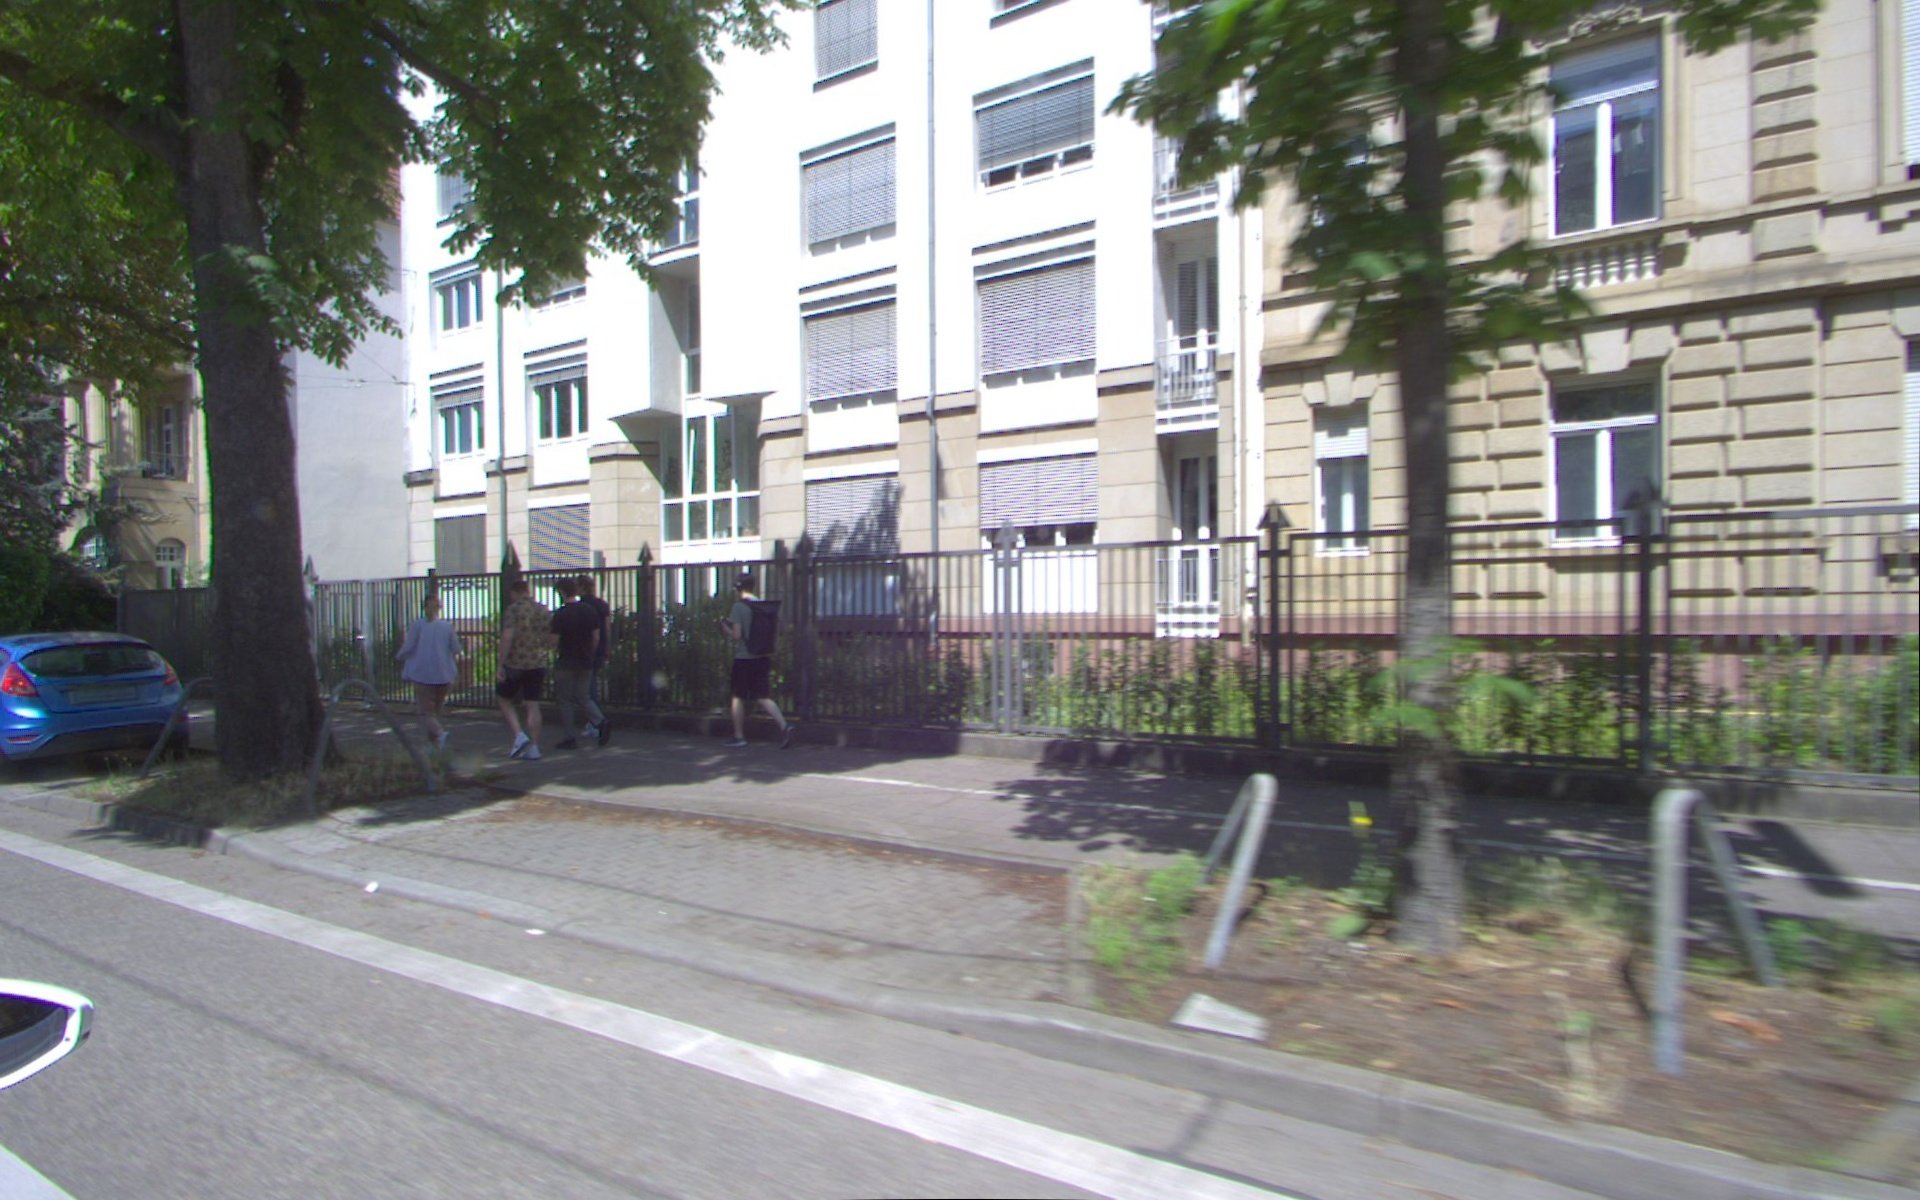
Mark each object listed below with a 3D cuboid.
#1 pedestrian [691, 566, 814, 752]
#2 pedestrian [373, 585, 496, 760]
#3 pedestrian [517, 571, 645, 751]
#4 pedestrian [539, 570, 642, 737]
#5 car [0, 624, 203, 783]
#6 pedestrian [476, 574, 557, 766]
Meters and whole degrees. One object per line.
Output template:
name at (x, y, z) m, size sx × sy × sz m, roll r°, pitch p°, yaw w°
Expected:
pedestrian at (-2.150, 0.583, 10.385) m, size 1.068 × 1.821 × 0.683 m, roll 0°, pitch 0°, yaw 32°
pedestrian at (-5.323, 0.695, 10.150) m, size 0.961 × 1.673 × 0.763 m, roll 0°, pitch 0°, yaw 37°
pedestrian at (-3.999, 0.615, 10.581) m, size 1.037 × 1.785 × 0.786 m, roll 0°, pitch 0°, yaw 31°
pedestrian at (-4.266, 0.596, 11.575) m, size 0.963 × 1.835 × 0.659 m, roll 0°, pitch 0°, yaw 32°
car at (-10.379, 1.036, 11.284) m, size 3.666 × 1.463 × 1.674 m, roll -1°, pitch 1°, yaw 31°
pedestrian at (-4.429, 0.661, 9.978) m, size 0.696 × 1.800 × 0.943 m, roll -1°, pitch 0°, yaw -26°
